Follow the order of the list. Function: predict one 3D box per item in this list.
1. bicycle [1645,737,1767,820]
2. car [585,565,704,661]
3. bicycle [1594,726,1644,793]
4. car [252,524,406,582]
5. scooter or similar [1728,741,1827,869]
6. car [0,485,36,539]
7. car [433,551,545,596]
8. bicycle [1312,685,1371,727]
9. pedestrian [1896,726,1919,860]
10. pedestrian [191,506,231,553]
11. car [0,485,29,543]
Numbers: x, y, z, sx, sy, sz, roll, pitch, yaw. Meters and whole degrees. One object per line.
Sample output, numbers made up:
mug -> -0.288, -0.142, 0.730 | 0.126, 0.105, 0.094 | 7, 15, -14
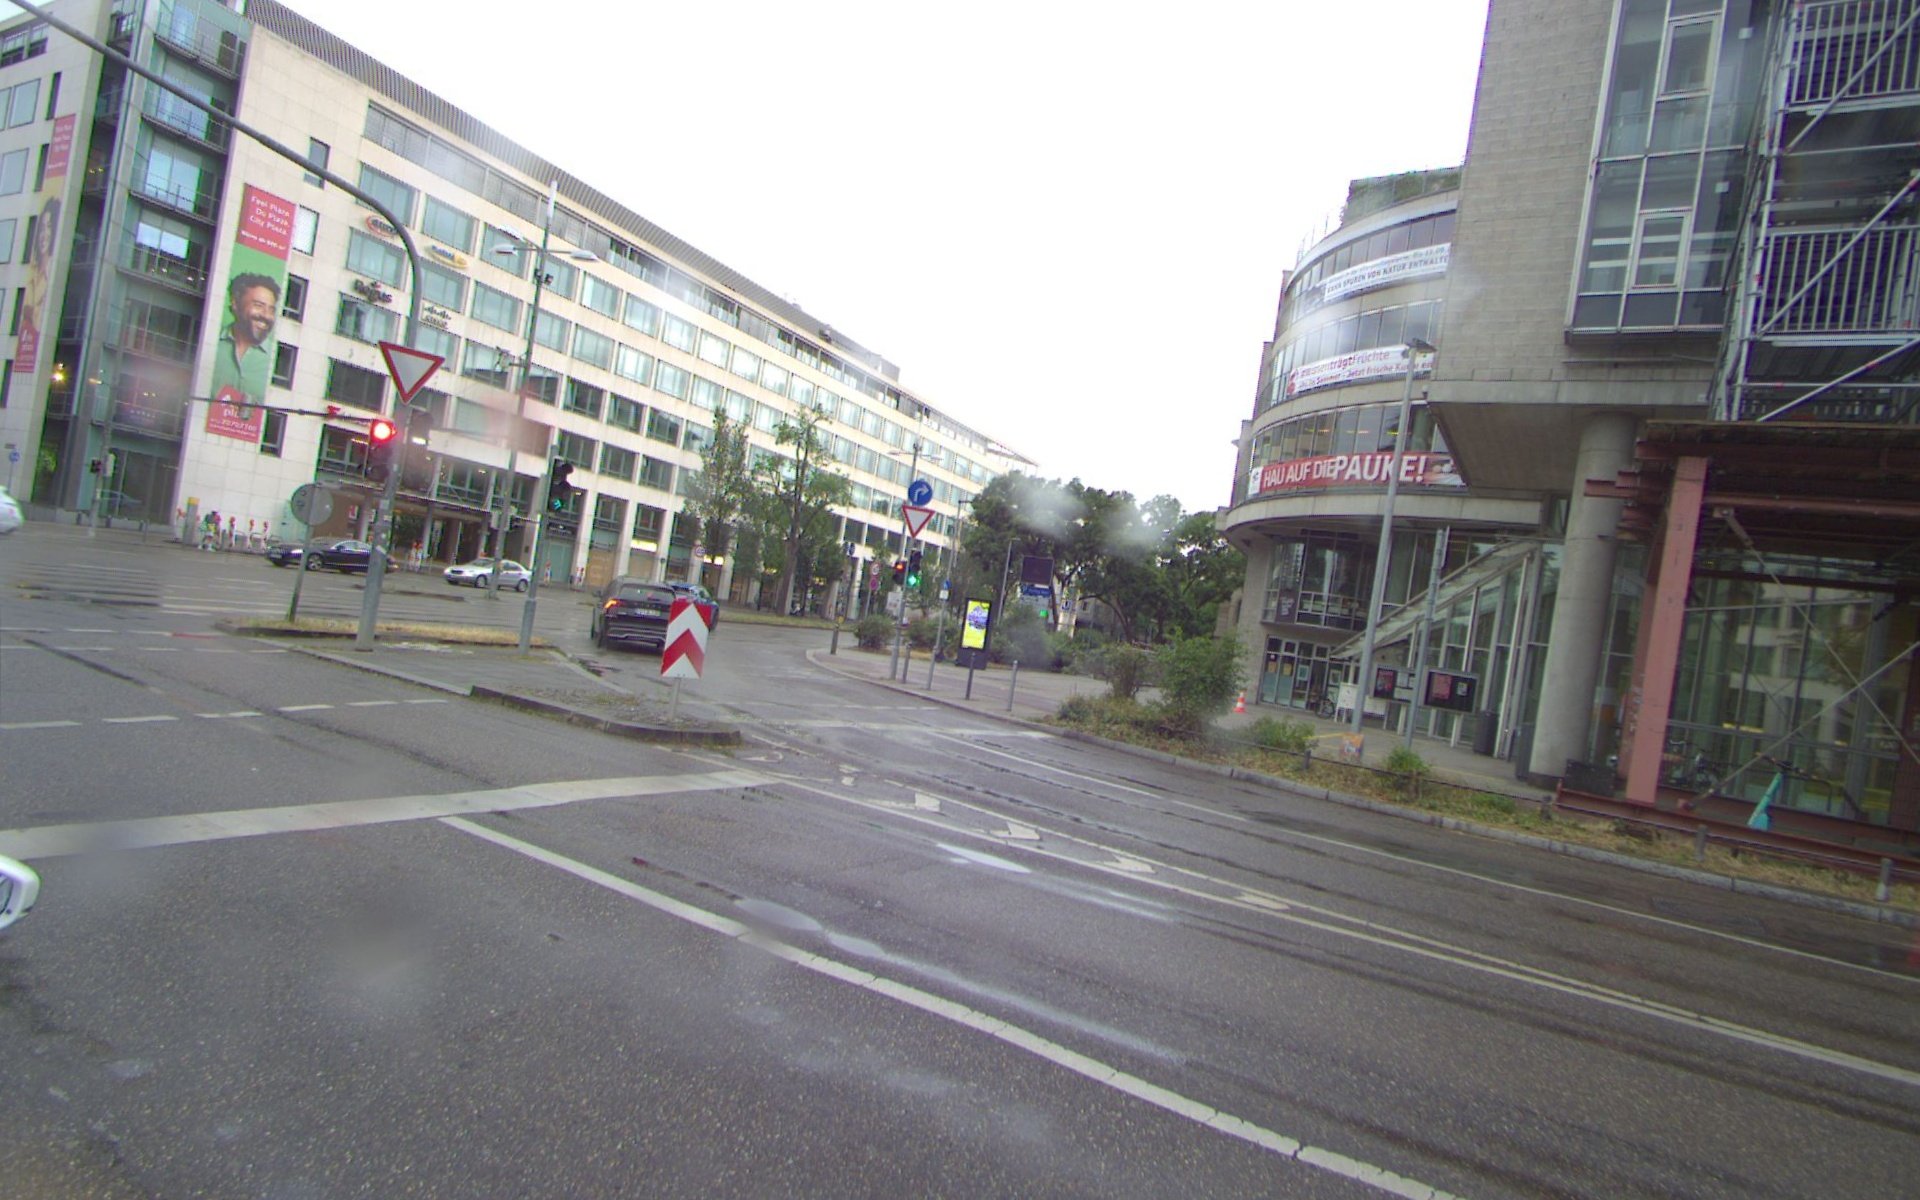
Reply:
bicycle -> 13.491, 3.221, 18.223 | 1.584, 1.208, 0.587 | 7, -1, 6
car -> -7.113, 0.217, 22.411 | 1.911, 1.715, 3.977 | 8, -1, -24
bicycle -> 13.622, 3.270, 20.822 | 0.576, 1.208, 1.614 | 7, -2, 27
car -> -24.508, -1.779, 39.315 | 1.963, 1.494, 4.868 | 6, -3, 19
scooter or similar -> 9.227, 2.266, 11.411 | 0.577, 1.208, 1.780 | 7, -1, 34
car -> -30.610, -2.949, 29.594 | 1.776, 1.529, 4.704 | 7, -2, 16
car -> -21.957, -1.203, 47.168 | 1.962, 1.494, 4.739 | 6, -3, 17
bicycle -> 13.461, 3.742, 35.524 | 1.753, 1.208, 0.586 | 6, -1, 29
pedestrian -> 13.488, 2.681, 13.606 | 0.776, 1.796, 0.781 | 7, -1, 13
pedestrian -> -32.259, -3.021, 43.354 | 0.822, 1.838, 0.963 | 6, -1, 31
car -> -28.139, -2.669, 26.668 | 1.776, 1.529, 4.704 | 7, -2, 16
